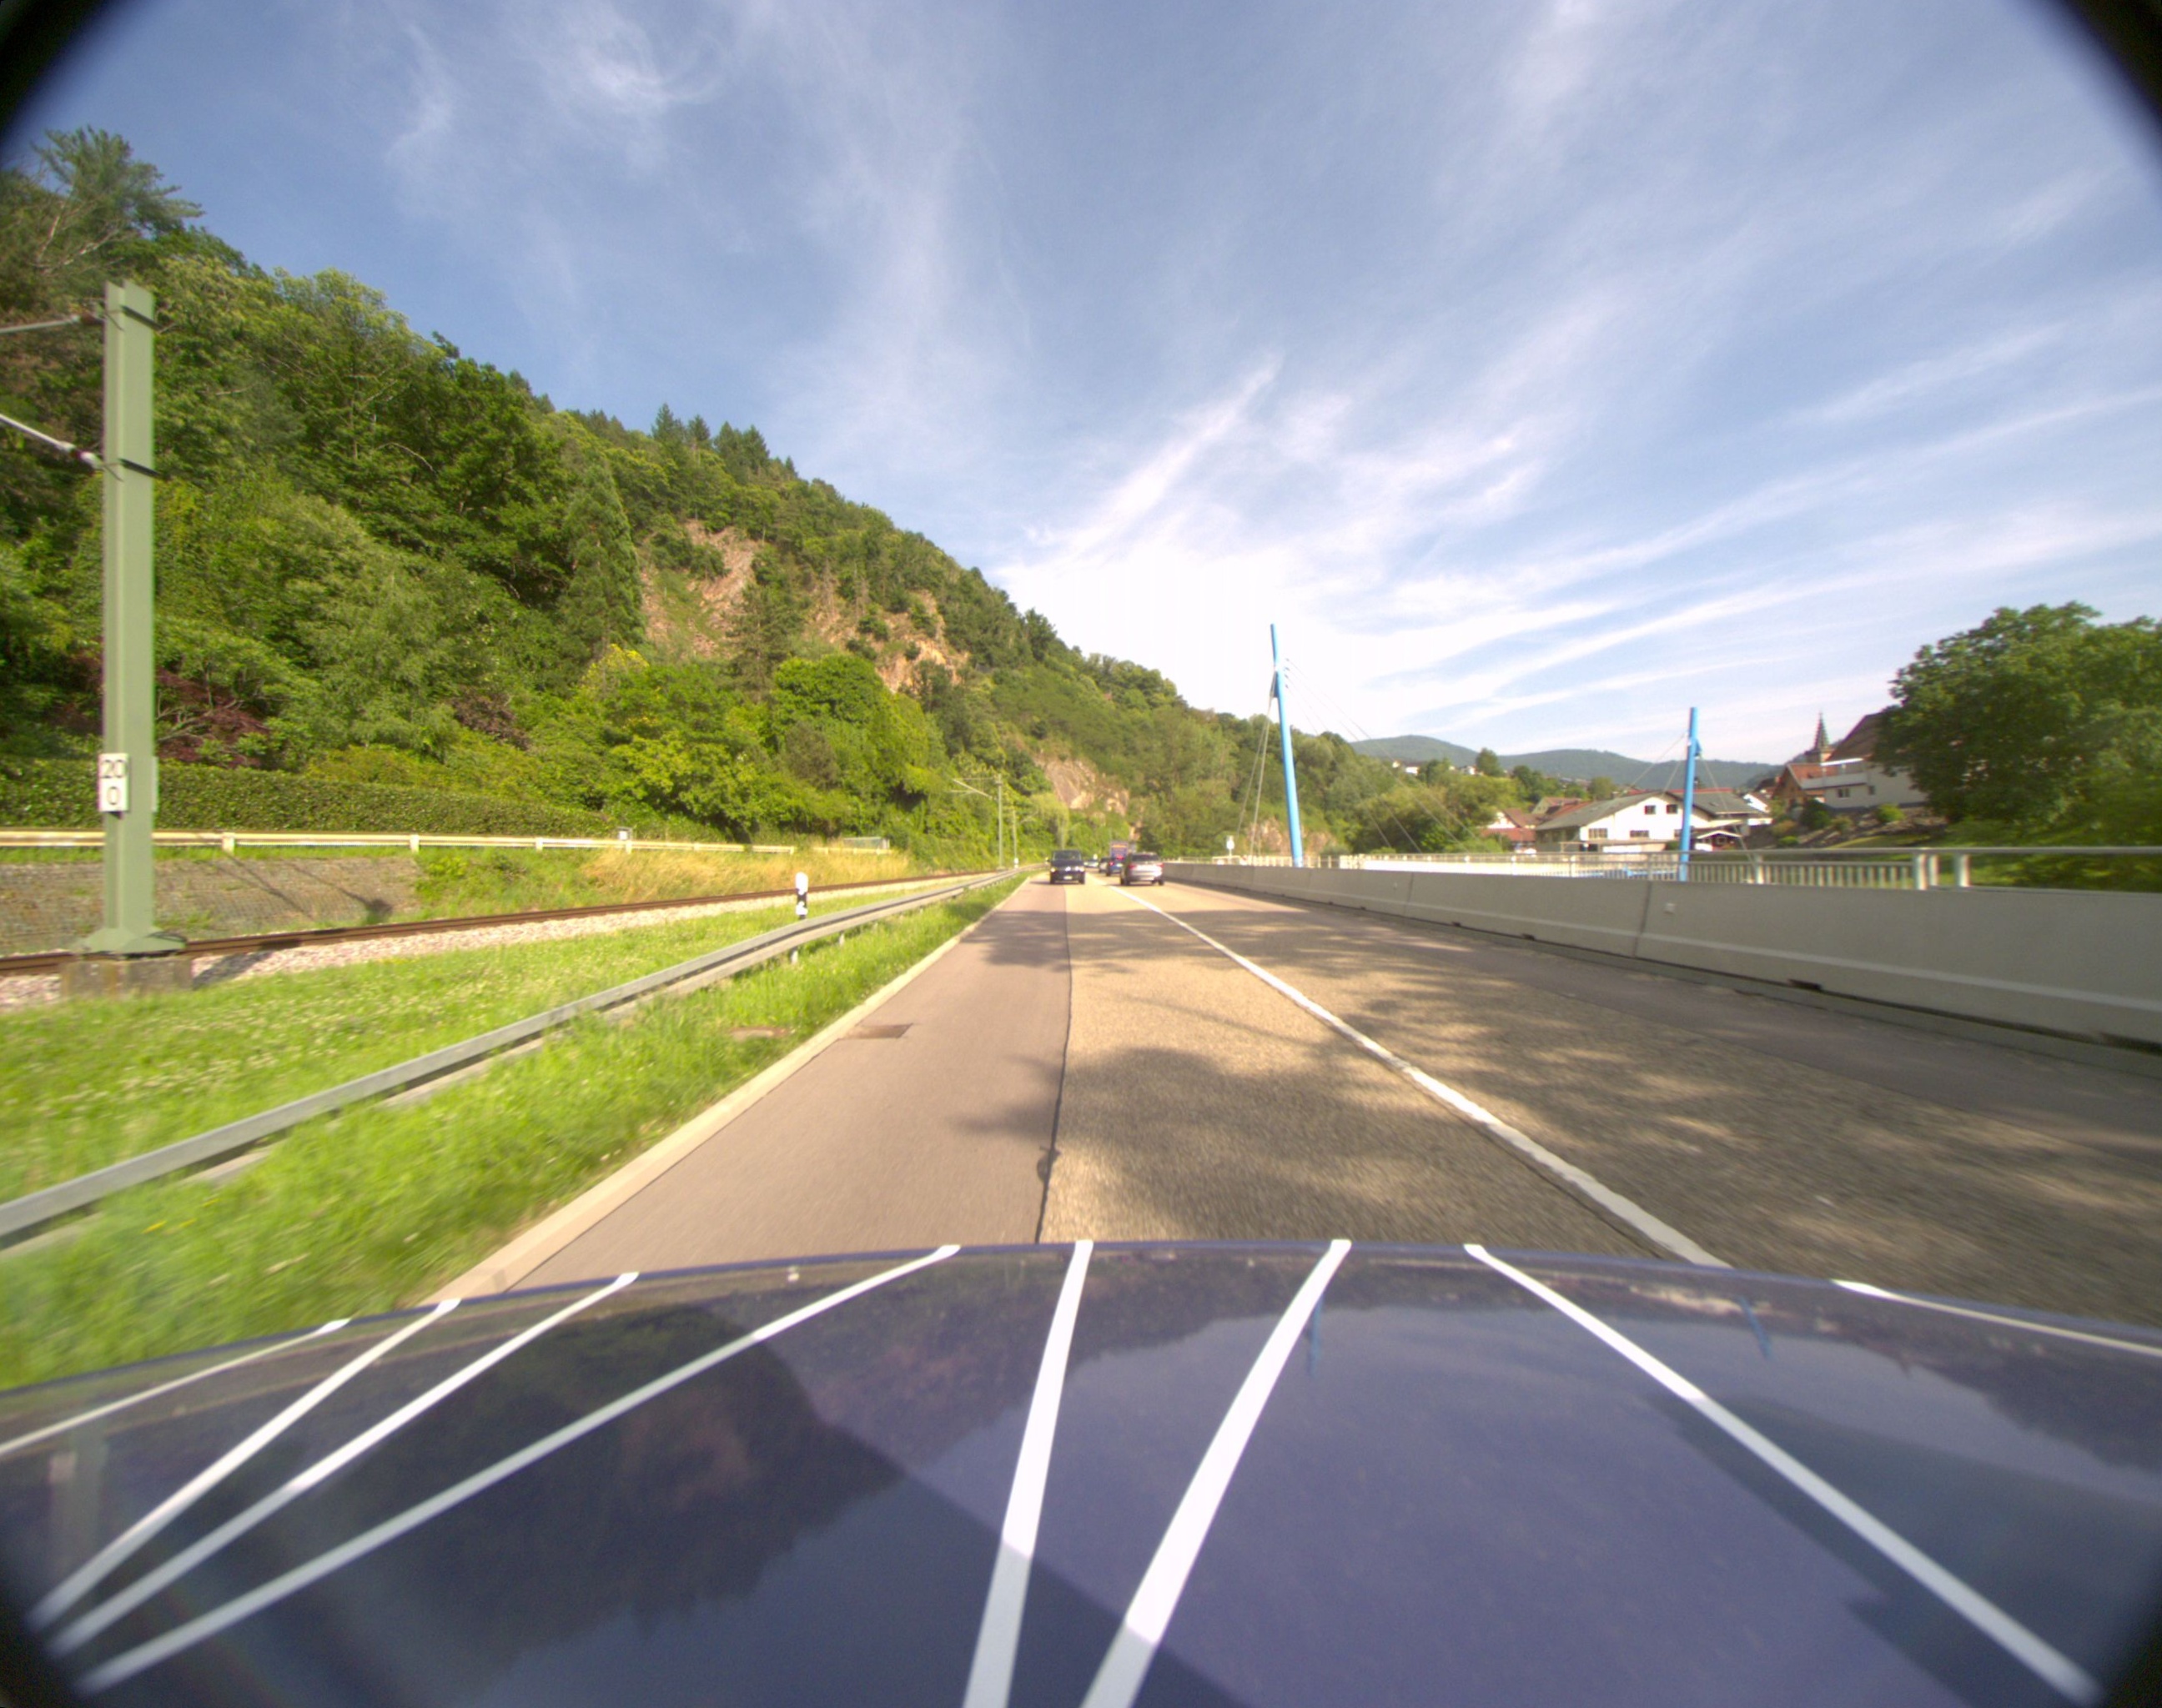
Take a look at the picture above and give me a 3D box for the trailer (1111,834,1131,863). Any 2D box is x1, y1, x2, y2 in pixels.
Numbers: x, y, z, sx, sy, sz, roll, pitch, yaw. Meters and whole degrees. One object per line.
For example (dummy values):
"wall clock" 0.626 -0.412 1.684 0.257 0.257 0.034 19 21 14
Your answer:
"trailer" 5.891 -0.809 112.598 2.863 3.989 13.672 0 0 3

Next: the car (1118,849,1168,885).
"car" 3.025 0.612 37.887 1.999 1.619 4.506 -2 0 -1

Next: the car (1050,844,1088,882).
"car" -0.613 0.543 42.040 1.998 2.001 4.001 0 -1 1

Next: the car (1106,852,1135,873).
"car" 2.979 0.638 58.660 1.803 1.547 4.330 -2 0 -2

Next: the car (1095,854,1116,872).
"car" 2.427 0.888 75.941 1.778 1.660 4.646 0 0 -1

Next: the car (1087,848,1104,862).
"car" 2.073 0.170 109.888 1.997 2.002 4.002 1 0 8
